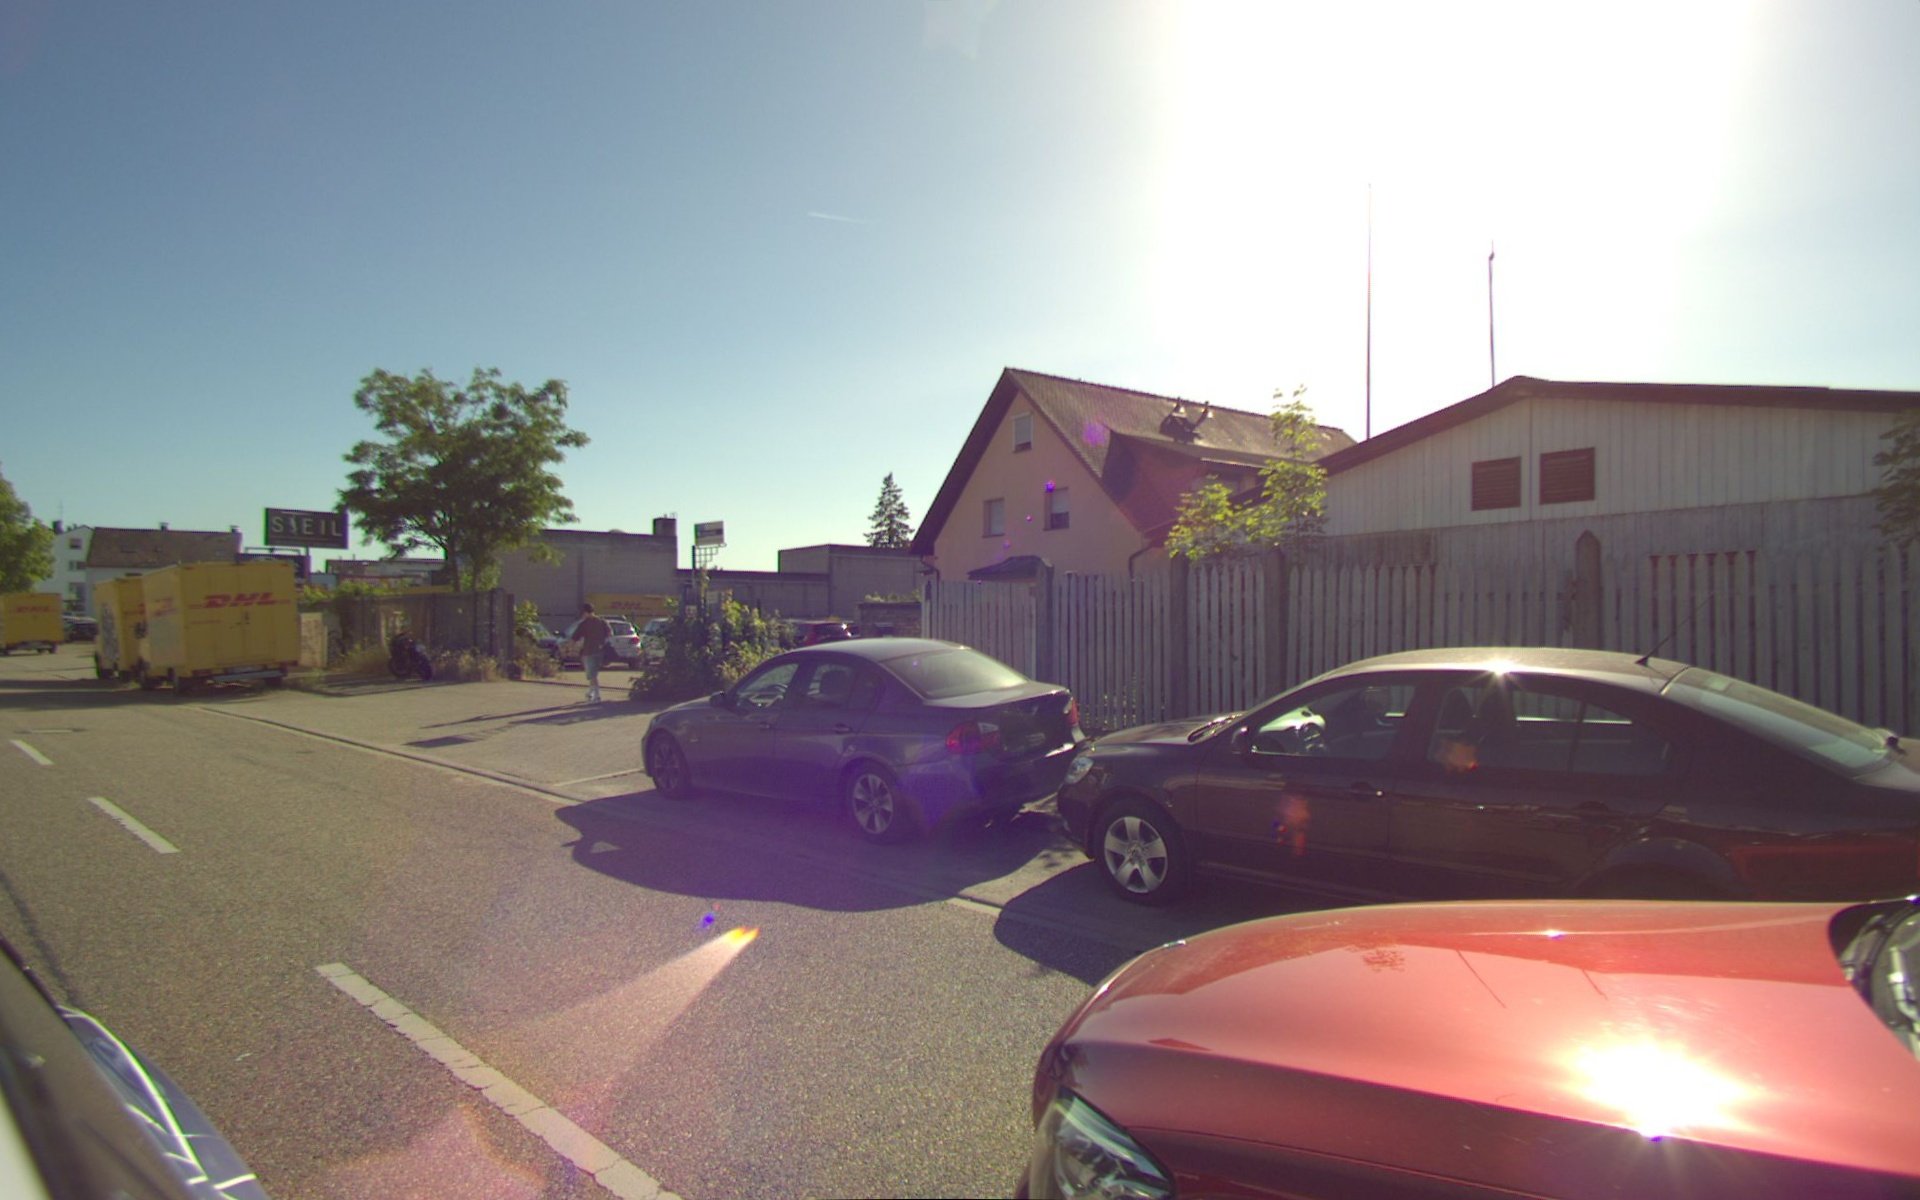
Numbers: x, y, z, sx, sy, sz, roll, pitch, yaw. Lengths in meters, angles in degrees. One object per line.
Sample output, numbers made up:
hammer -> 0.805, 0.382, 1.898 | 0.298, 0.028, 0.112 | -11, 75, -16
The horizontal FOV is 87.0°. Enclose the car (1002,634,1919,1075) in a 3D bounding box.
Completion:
car -> 2.572, 0.961, 5.475 | 4.614, 1.459, 1.757 | -1, 0, 42

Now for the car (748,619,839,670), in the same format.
car -> -5.976, 1.549, 35.976 | 1.623, 1.698, 4.010 | 1, -2, -35

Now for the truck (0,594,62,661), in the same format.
truck -> -45.293, 1.259, 48.869 | 5.909, 3.052, 2.256 | -1, 0, 42

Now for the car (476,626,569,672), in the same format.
car -> -15.209, 1.678, 35.070 | 1.825, 1.454, 4.007 | 4, -3, -40

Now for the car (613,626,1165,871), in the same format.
car -> -0.875, 0.990, 8.635 | 4.922, 1.459, 1.757 | -1, 0, 42

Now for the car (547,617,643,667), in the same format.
car -> -13.321, 1.500, 36.820 | 1.947, 1.652, 4.007 | 4, -3, -40

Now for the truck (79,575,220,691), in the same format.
truck -> -22.420, 0.846, 27.897 | 5.748, 2.895, 2.117 | -1, 0, 42

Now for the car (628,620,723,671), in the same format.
car -> -9.308, 1.445, 32.964 | 1.624, 1.542, 4.009 | 2, -2, -37

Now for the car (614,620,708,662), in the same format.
car -> -11.452, 1.554, 38.617 | 1.947, 1.454, 4.007 | 4, -3, -40

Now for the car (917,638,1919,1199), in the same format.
car -> 2.306, 0.783, 0.836 | 4.520, 1.431, 1.854 | -1, -4, 35

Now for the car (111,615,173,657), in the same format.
car -> -42.370, 1.798, 52.405 | 4.000, 2.029, 1.972 | 0, 0, 43

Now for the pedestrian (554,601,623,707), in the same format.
pedestrian -> -6.396, 0.903, 17.431 | 0.749, 1.756, 0.811 | -1, 0, 35

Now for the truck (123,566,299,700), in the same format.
truck -> -17.352, 0.677, 23.307 | 5.748, 2.734, 2.144 | -1, 0, 42

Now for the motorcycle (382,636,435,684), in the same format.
motorcycle -> -13.240, 1.422, 24.274 | 2.071, 1.065, 0.530 | -2, 0, 45

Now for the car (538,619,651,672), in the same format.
car -> -11.330, 1.381, 31.236 | 1.947, 1.454, 4.007 | 4, -3, -40
